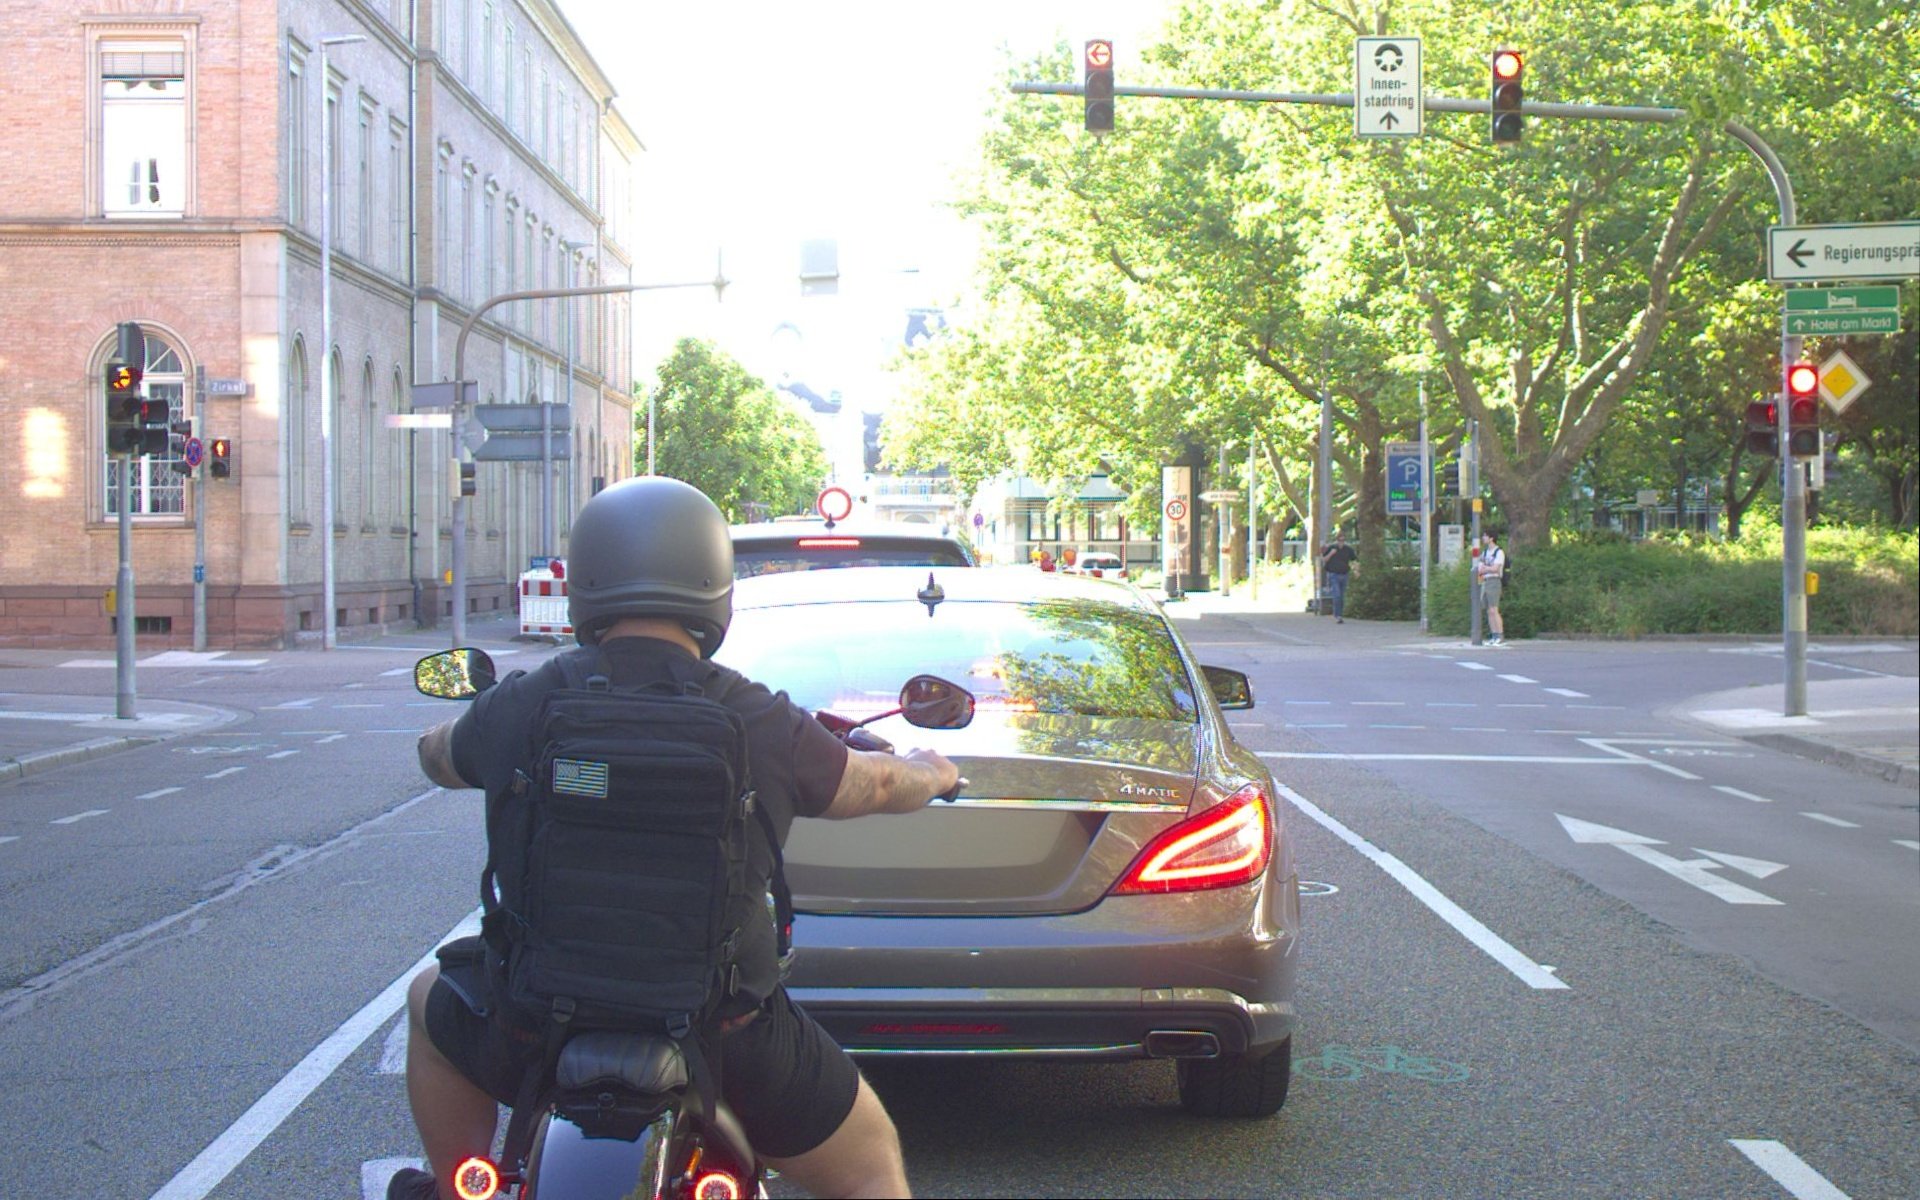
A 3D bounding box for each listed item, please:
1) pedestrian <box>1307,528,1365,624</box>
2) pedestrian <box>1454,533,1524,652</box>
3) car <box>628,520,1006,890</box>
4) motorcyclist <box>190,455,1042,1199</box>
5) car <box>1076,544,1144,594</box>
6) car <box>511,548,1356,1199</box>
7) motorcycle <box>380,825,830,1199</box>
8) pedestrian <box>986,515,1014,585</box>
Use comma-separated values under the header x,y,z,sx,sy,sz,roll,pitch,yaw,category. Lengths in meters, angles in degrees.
x,y,z,sx,sy,sz,roll,pitch,yaw,category
7.575,-0.484,69.243,0.749,1.903,0.926,1,0,-28,pedestrian
8.249,-0.122,53.645,1.002,1.820,1.076,1,0,6,pedestrian
-0.635,0.414,16.758,1.621,1.588,4.000,0,1,-1,car
-0.481,0.600,5.338,1.149,1.593,1.288,1,0,-1,motorcyclist
4.398,-0.929,101.046,1.776,1.423,3.802,0,1,-1,car
-0.081,0.599,9.642,1.882,1.444,3.820,1,1,-1,car
-0.494,0.931,5.376,0.513,0.999,2.013,1,1,-1,motorcycle
1.173,-1.459,100.861,0.764,2.044,0.712,1,0,-1,pedestrian
